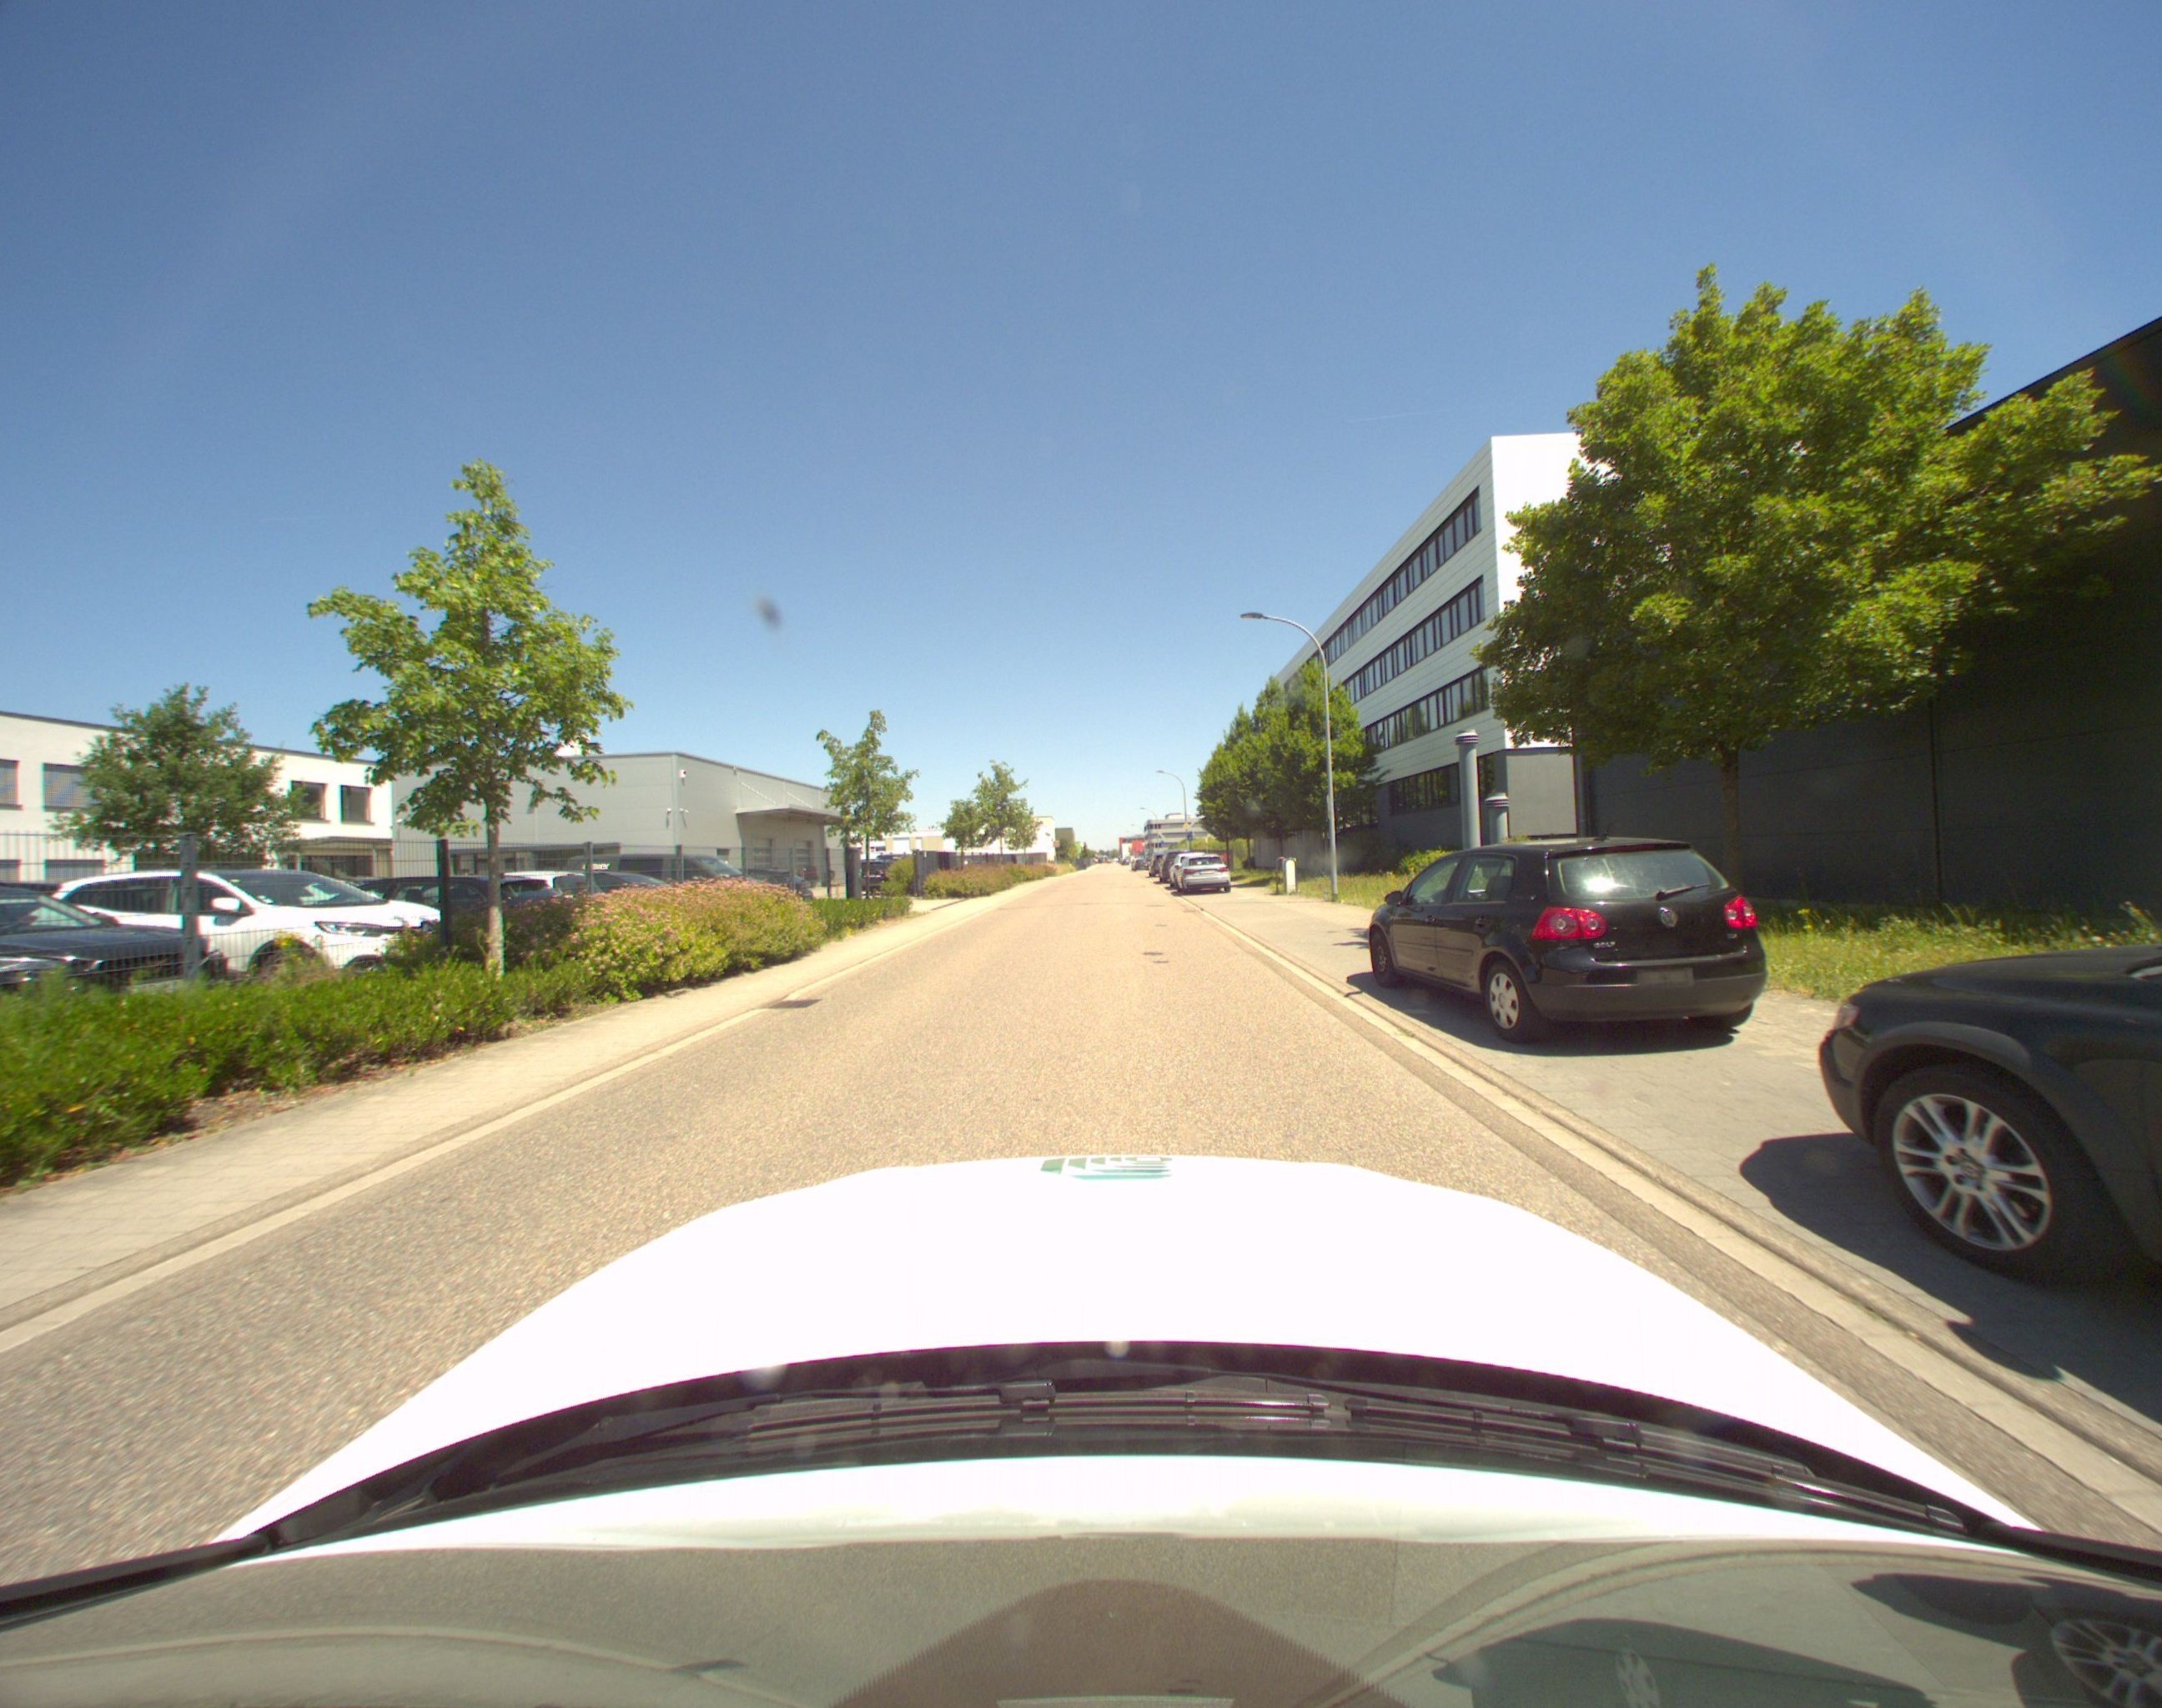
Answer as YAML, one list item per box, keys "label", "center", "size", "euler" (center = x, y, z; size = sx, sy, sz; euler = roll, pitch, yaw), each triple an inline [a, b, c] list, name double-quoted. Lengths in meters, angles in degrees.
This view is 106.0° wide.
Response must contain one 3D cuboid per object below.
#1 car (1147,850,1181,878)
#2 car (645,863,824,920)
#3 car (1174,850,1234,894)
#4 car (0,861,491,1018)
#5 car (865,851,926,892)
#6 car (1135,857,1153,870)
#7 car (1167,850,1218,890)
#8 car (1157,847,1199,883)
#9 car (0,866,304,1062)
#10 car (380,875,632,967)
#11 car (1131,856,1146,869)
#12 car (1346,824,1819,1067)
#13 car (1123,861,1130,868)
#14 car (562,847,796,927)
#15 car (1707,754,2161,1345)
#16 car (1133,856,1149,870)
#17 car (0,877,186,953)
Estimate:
- label: "car"
  center: [5.549, 0.677, 55.125]
  size: [1.797, 1.662, 4.609]
  euler: [-5, 0, 1]
- label: "car"
  center: [-9.949, 1.050, 23.606]
  size: [4.289, 1.446, 1.965]
  euler: [-1, 0, 1]
- label: "car"
  center: [4.512, 0.630, 30.287]
  size: [1.709, 1.423, 3.953]
  euler: [-5, 0, 3]
- label: "car"
  center: [-10.447, 0.986, 10.157]
  size: [4.714, 1.629, 2.001]
  euler: [-2, 0, 2]
- label: "car"
  center: [-9.967, 0.903, 44.148]
  size: [1.992, 2.099, 4.698]
  euler: [0, 0, 4]
- label: "car"
  center: [7.329, 1.083, 94.554]
  size: [1.899, 1.448, 4.005]
  euler: [-4, -1, 5]
- label: "car"
  center: [4.704, 0.631, 34.870]
  size: [1.709, 1.481, 4.034]
  euler: [-5, 0, 3]
- label: "car"
  center: [4.952, 0.563, 42.206]
  size: [1.751, 1.663, 4.366]
  euler: [-4, 0, 3]
- label: "car"
  center: [-10.590, 0.973, 7.639]
  size: [4.714, 1.535, 2.001]
  euler: [-2, 0, 2]
- label: "car"
  center: [-10.721, 1.215, 15.392]
  size: [3.358, 1.498, 1.905]
  euler: [-1, 0, 1]
- label: "car"
  center: [7.754, 1.165, 109.753]
  size: [1.899, 1.546, 4.005]
  euler: [-4, -1, 5]
- label: "car"
  center: [3.949, 0.598, 7.420]
  size: [1.686, 1.476, 4.270]
  euler: [-4, 0, 1]
- label: "car"
  center: [11.399, 2.617, 205.514]
  size: [1.769, 1.728, 4.002]
  euler: [0, 0, 2]
- label: "car"
  center: [-10.291, 0.824, 21.132]
  size: [5.041, 1.851, 1.965]
  euler: [-1, 0, 1]
- label: "car"
  center: [3.796, 0.481, 1.407]
  size: [1.801, 1.617, 4.716]
  euler: [-4, 0, 1]
- label: "car"
  center: [7.687, 1.122, 103.463]
  size: [1.899, 1.546, 4.005]
  euler: [-4, -1, 5]
- label: "car"
  center: [-21.044, 1.249, 16.832]
  size: [3.459, 1.414, 1.477]
  euler: [-2, 0, 1]
